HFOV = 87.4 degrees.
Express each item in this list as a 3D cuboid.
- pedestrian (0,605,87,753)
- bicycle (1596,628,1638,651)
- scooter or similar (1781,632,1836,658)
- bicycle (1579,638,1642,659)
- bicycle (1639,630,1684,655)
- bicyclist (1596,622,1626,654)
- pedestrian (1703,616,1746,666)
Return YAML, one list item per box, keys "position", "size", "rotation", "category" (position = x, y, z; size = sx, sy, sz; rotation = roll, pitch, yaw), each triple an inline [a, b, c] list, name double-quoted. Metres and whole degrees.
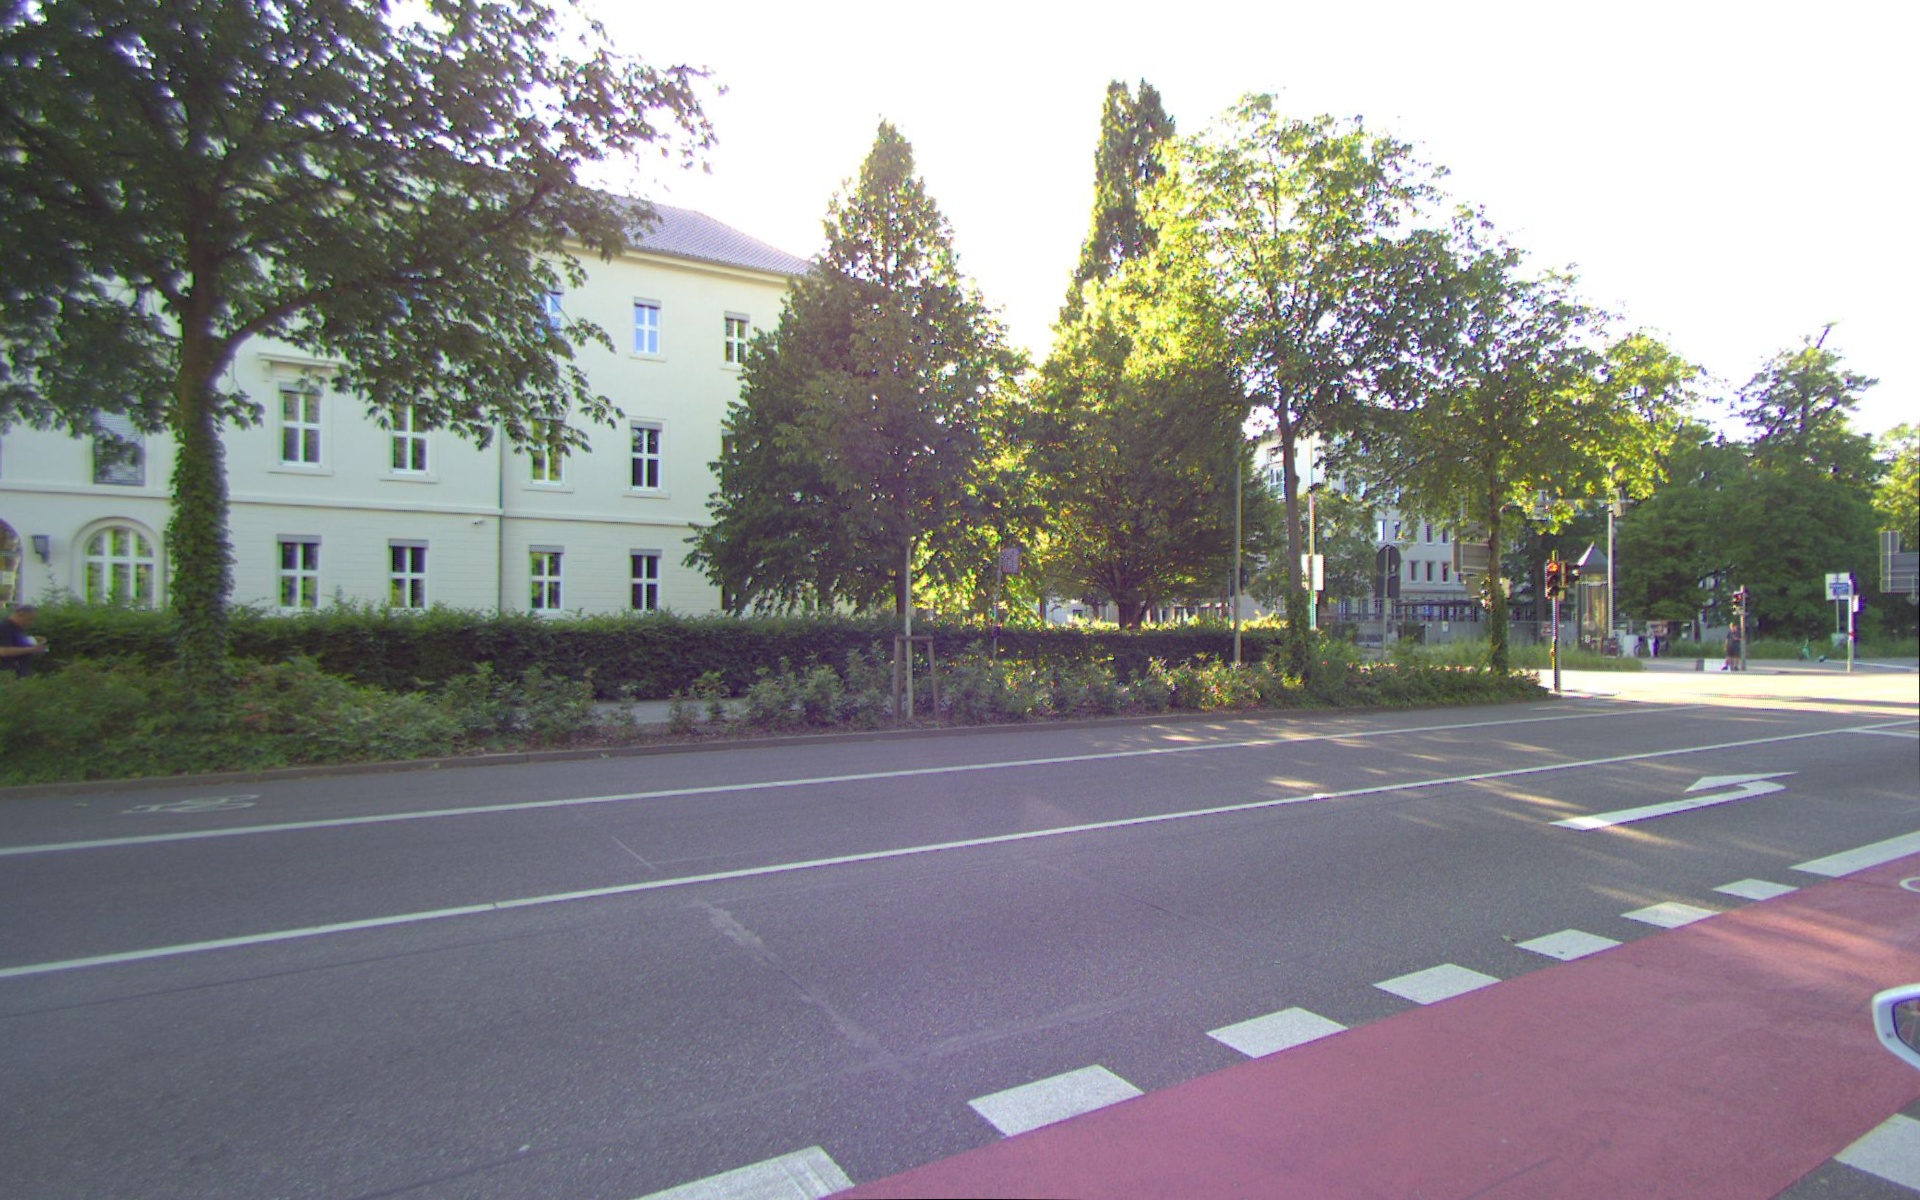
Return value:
- position: [-11.418, 0.951, 12.331]
  size: [0.959, 1.743, 0.828]
  rotation: [1, -2, -37]
  category: "pedestrian"
- position: [34.071, 2.034, 52.118]
  size: [0.437, 1.163, 1.855]
  rotation: [1, -1, -27]
  category: "bicycle"
- position: [39.312, 2.081, 46.555]
  size: [1.882, 1.139, 0.713]
  rotation: [1, 0, 3]
  category: "scooter or similar"
- position: [32.701, 2.415, 50.532]
  size: [0.574, 1.002, 2.694]
  rotation: [1, -2, -29]
  category: "bicycle"
- position: [34.891, 2.098, 49.983]
  size: [0.288, 1.163, 1.849]
  rotation: [1, -1, -36]
  category: "bicycle"
- position: [32.718, 1.906, 50.505]
  size: [0.867, 1.627, 0.970]
  rotation: [1, -2, -29]
  category: "bicyclist"
- position: [31.791, 1.694, 41.767]
  size: [1.175, 2.040, 0.992]
  rotation: [1, 0, -25]
  category: "pedestrian"
